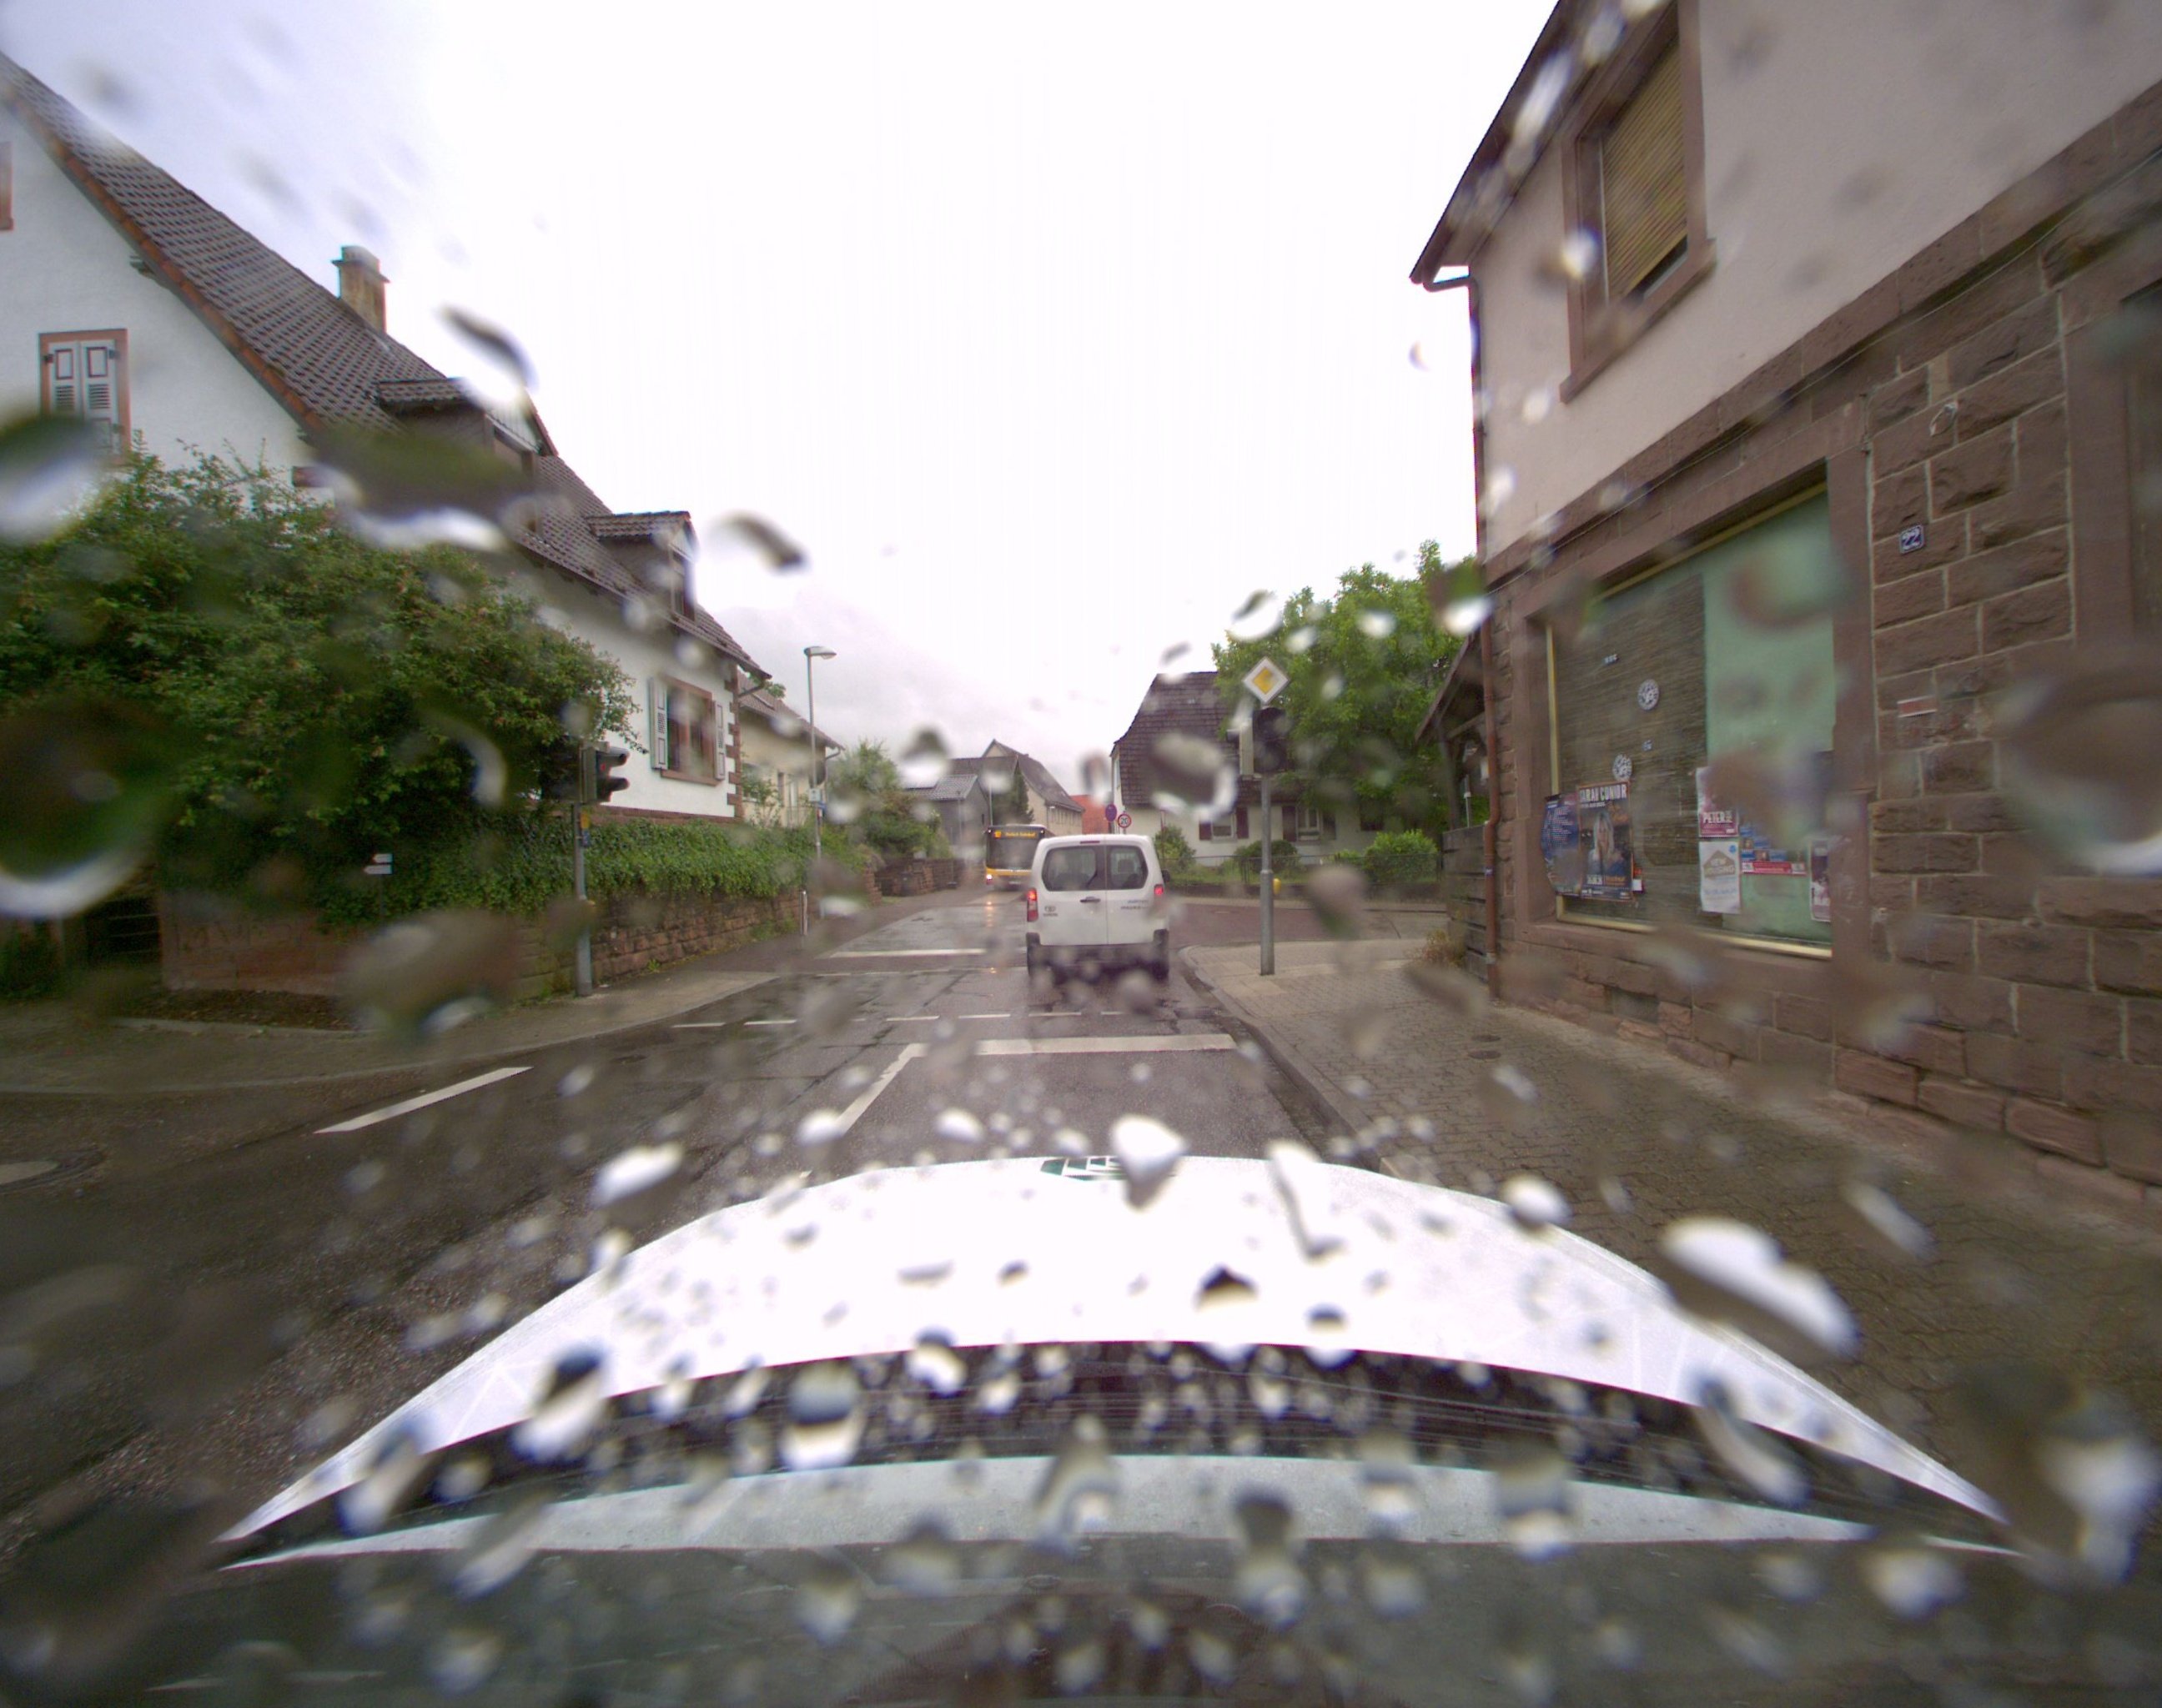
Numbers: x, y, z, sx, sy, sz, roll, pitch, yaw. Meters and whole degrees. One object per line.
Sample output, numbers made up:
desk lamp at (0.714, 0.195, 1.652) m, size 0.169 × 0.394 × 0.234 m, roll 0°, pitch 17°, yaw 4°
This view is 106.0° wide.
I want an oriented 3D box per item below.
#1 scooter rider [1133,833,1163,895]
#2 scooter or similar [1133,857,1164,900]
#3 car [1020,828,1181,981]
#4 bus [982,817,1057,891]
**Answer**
scooter rider at (1.910, 0.267, 23.367) m, size 0.730 × 1.733 × 0.517 m, roll -2°, pitch 1°, yaw -6°
scooter or similar at (1.919, 0.671, 23.242) m, size 0.619 × 1.127 × 1.399 m, roll -1°, pitch 1°, yaw -6°
car at (0.252, 0.596, 11.572) m, size 1.888 × 1.794 × 3.813 m, roll -1°, pitch 0°, yaw 0°
bus at (-2.711, -0.148, 39.756) m, size 2.641 × 2.999 × 12.192 m, roll -1°, pitch 1°, yaw 0°
